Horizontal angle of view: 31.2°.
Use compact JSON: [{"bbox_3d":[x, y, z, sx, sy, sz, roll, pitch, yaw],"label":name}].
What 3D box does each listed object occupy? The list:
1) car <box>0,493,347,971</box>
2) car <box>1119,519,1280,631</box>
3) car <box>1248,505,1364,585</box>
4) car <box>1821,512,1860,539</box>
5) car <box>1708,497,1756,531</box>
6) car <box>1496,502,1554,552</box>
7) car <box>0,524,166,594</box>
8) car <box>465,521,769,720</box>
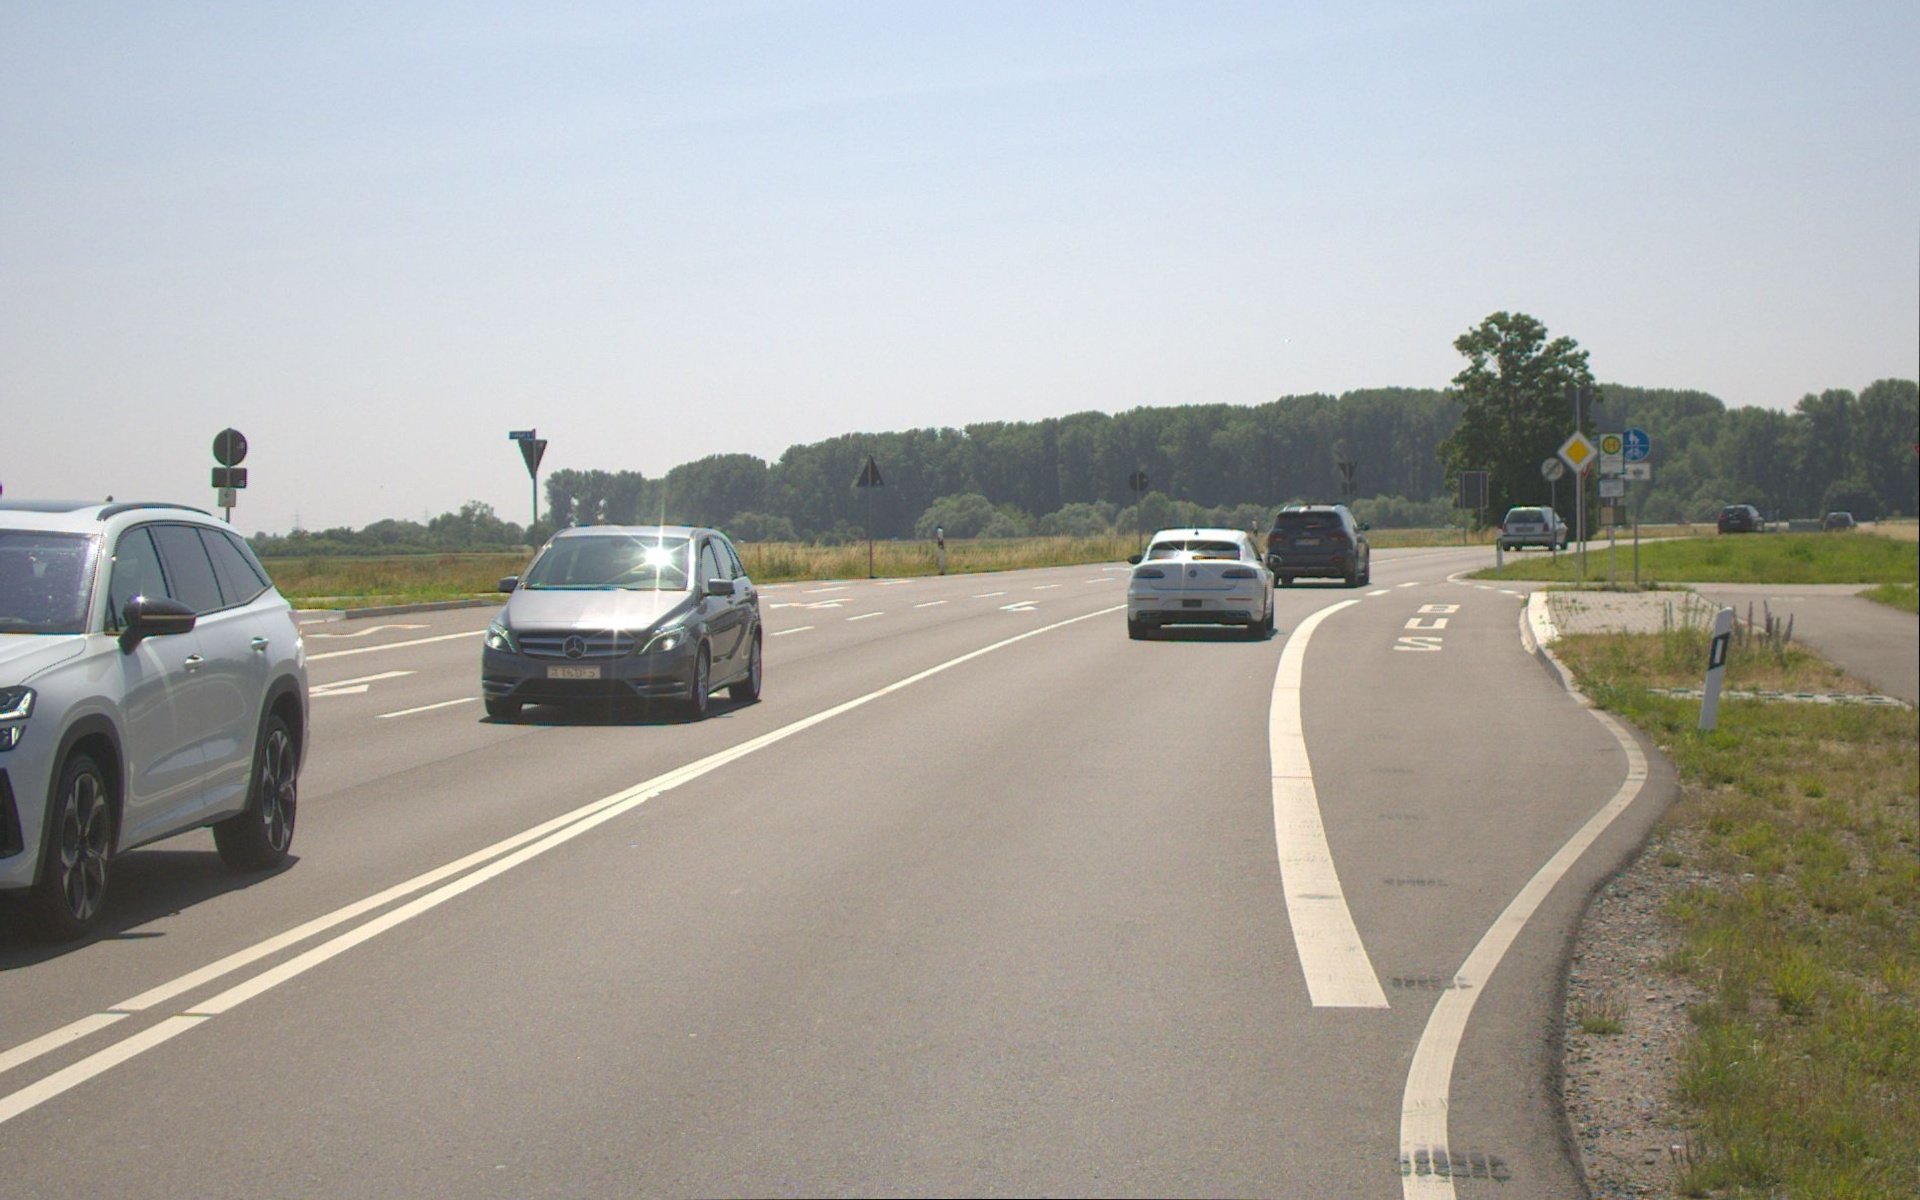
[{"bbox_3d":[-4.063,0.417,14.297,1.878,1.645,4.843,0,1,4],"label":"car"},{"bbox_3d":[3.286,-0.323,46.496,1.848,1.428,4.606,0,0,8],"label":"car"},{"bbox_3d":[7.289,-1.130,72.048,1.936,1.611,4.376,1,0,12],"label":"car"},{"bbox_3d":[53.250,-4.505,207.888,1.801,1.516,3.879,-2,1,22],"label":"car"},{"bbox_3d":[37.056,-4.117,164.967,1.801,1.471,4.411,-2,0,18],"label":"car"},{"bbox_3d":[18.535,-2.381,112.691,1.800,1.424,4.091,-3,-1,10],"label":"car"},{"bbox_3d":[-17.358,-0.813,67.500,1.692,1.327,4.034,1,1,16],"label":"car"},{"bbox_3d":[-2.826,0.113,29.274,1.732,1.550,4.379,0,1,6],"label":"car"}]
